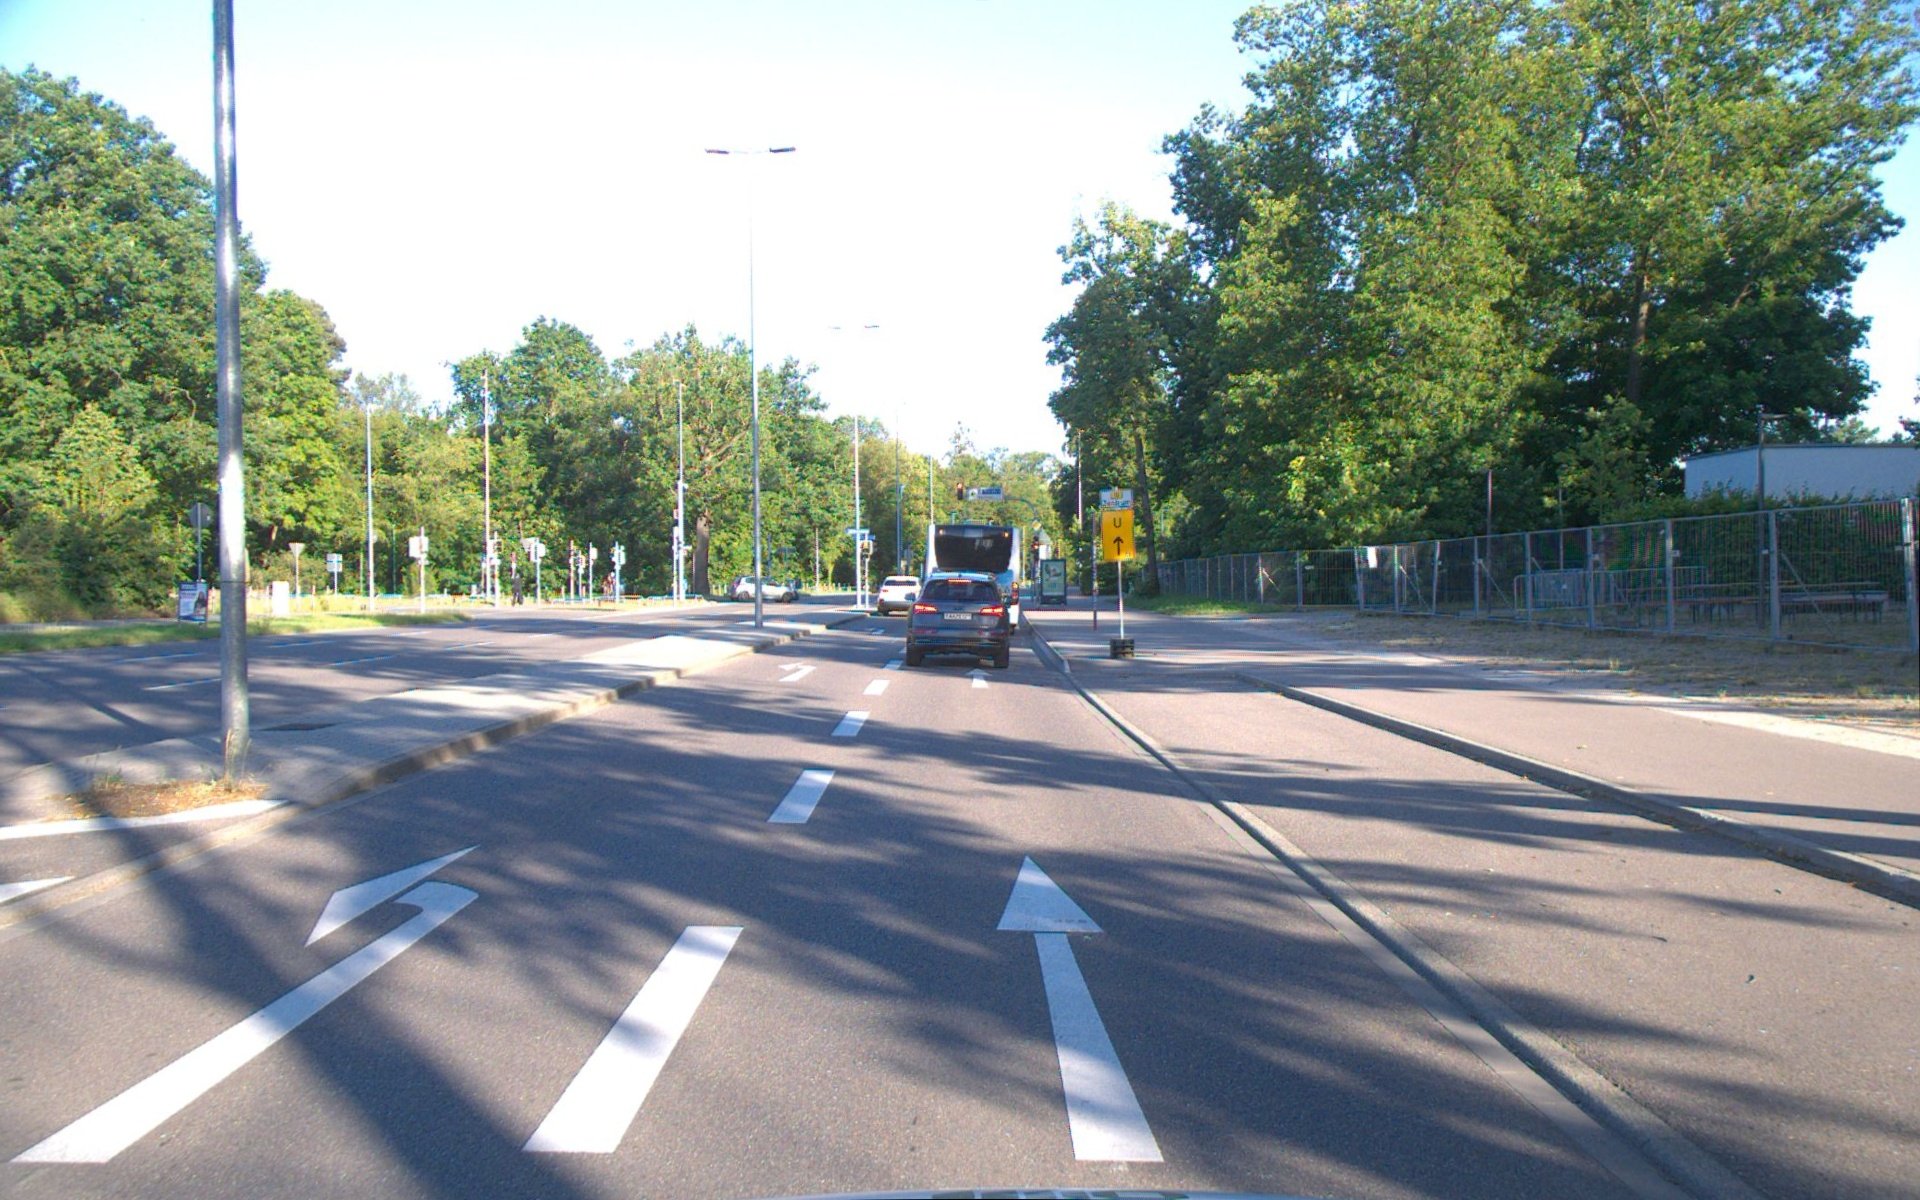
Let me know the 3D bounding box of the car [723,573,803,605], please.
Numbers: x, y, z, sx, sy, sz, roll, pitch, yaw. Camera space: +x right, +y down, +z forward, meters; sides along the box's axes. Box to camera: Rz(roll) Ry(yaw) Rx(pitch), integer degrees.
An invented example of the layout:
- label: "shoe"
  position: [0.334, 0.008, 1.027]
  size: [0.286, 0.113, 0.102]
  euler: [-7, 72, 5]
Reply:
- label: "car"
  position: [-10.921, -0.615, 91.739]
  size: [3.937, 1.668, 2.049]
  euler: [-2, 1, -25]

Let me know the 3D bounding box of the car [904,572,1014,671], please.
- label: "car"
  position: [0.027, 0.343, 30.438]
  size: [1.859, 1.660, 4.001]
  euler: [1, 1, 1]

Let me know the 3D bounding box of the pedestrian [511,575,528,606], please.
- label: "pedestrian"
  position: [-22.523, -0.480, 84.551]
  size: [0.643, 1.587, 0.531]
  euler: [-1, 1, -41]

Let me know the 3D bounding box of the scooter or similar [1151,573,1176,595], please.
- label: "scooter or similar"
  position: [14.914, -1.155, 121.199]
  size: [0.535, 1.594, 1.995]
  euler: [-1, 1, -38]

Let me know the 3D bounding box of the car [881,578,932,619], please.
- label: "car"
  position: [-2.079, -0.087, 65.002]
  size: [1.798, 1.545, 4.001]
  euler: [0, 1, 1]

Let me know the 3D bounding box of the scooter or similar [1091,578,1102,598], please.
- label: "scooter or similar"
  position: [10.091, -0.864, 122.404]
  size: [0.498, 1.469, 2.021]
  euler: [-1, 1, -4]

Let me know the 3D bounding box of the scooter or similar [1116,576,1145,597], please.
- label: "scooter or similar"
  position: [12.373, -0.989, 119.968]
  size: [1.989, 1.469, 0.601]
  euler: [-1, 1, -24]

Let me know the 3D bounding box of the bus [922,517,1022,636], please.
- label: "bus"
  position: [0.401, -0.639, 47.581]
  size: [2.541, 3.041, 9.328]
  euler: [1, 0, 1]
